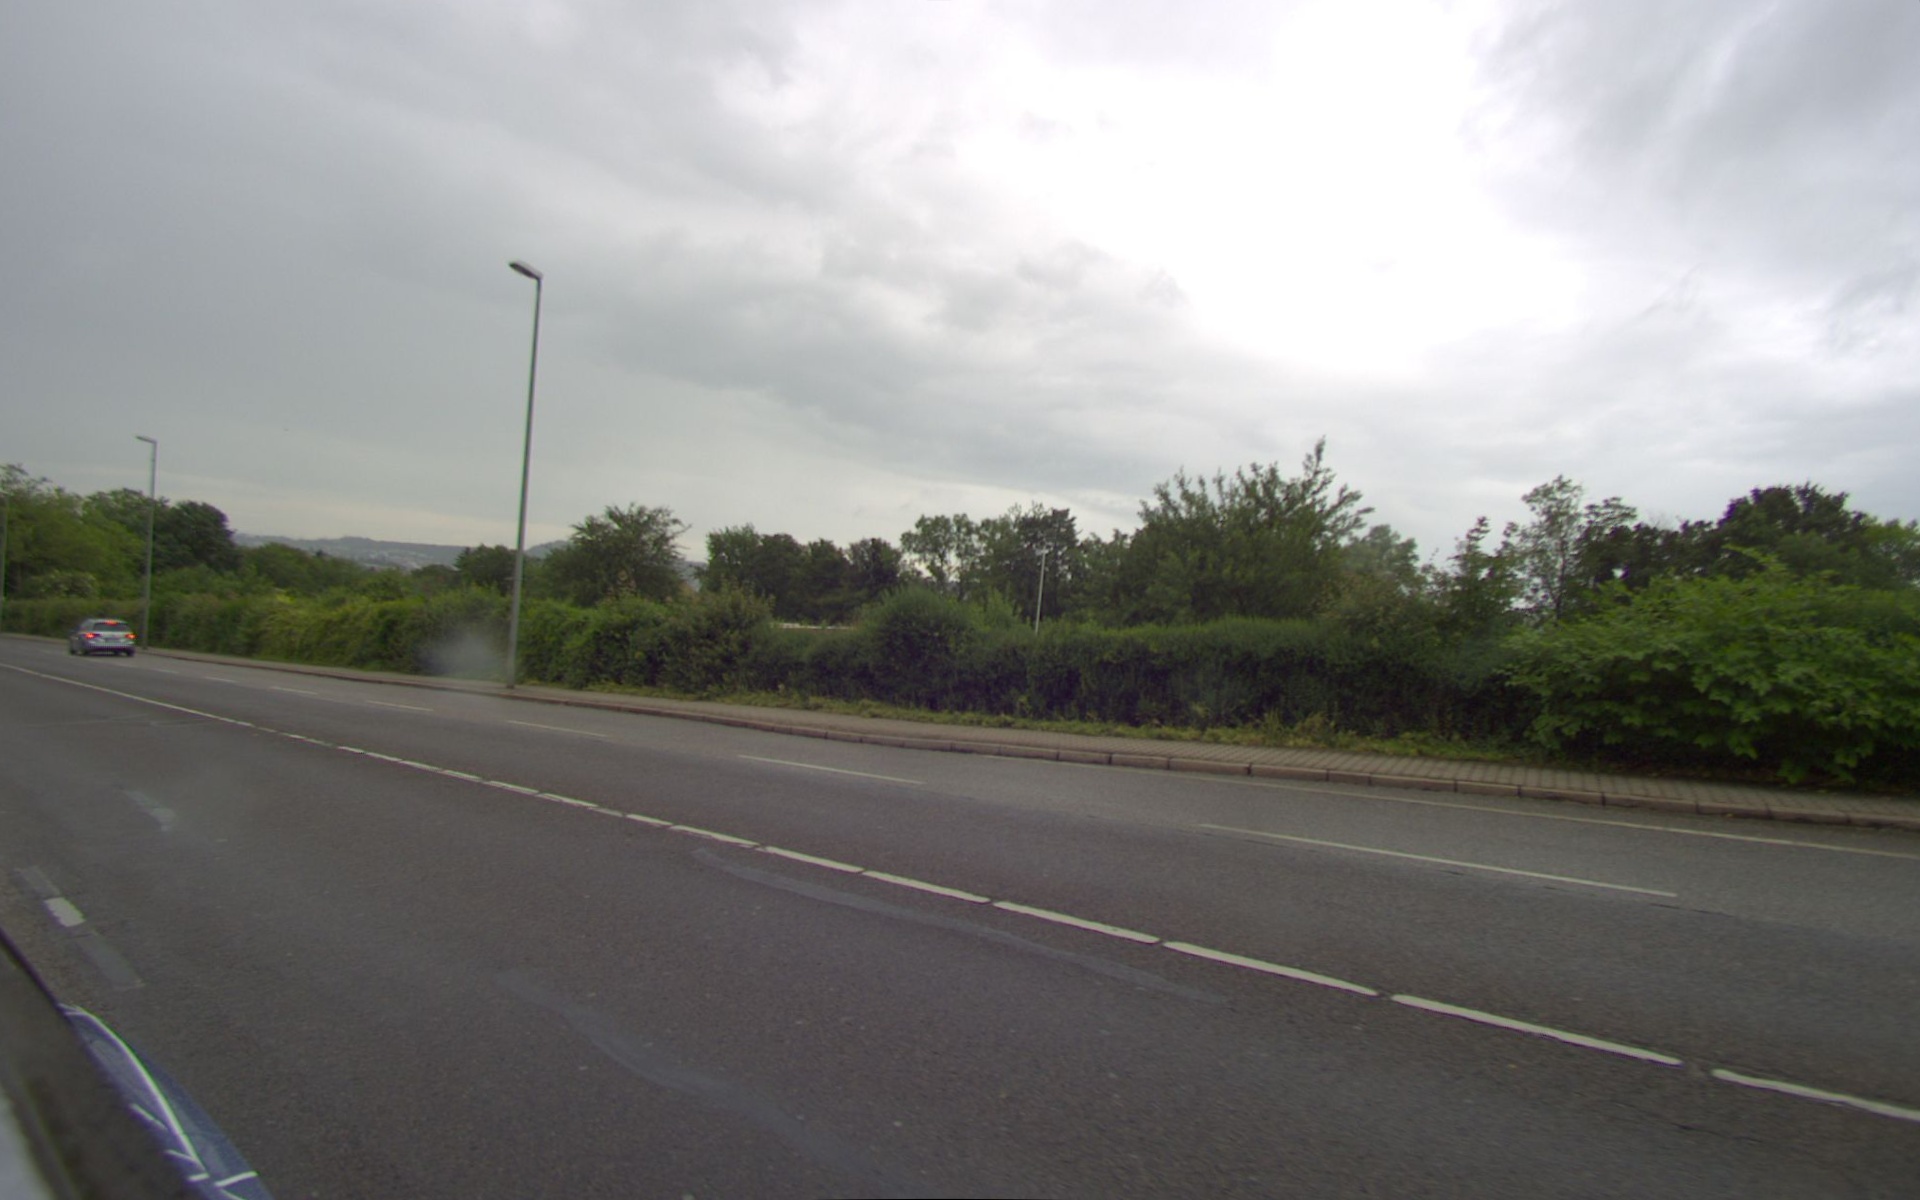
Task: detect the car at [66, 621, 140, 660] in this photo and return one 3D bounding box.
[{"bbox_3d":[-37.337,1.760,44.069,3.996,1.580,1.738,-1,-4,40],"label":"car"}]
